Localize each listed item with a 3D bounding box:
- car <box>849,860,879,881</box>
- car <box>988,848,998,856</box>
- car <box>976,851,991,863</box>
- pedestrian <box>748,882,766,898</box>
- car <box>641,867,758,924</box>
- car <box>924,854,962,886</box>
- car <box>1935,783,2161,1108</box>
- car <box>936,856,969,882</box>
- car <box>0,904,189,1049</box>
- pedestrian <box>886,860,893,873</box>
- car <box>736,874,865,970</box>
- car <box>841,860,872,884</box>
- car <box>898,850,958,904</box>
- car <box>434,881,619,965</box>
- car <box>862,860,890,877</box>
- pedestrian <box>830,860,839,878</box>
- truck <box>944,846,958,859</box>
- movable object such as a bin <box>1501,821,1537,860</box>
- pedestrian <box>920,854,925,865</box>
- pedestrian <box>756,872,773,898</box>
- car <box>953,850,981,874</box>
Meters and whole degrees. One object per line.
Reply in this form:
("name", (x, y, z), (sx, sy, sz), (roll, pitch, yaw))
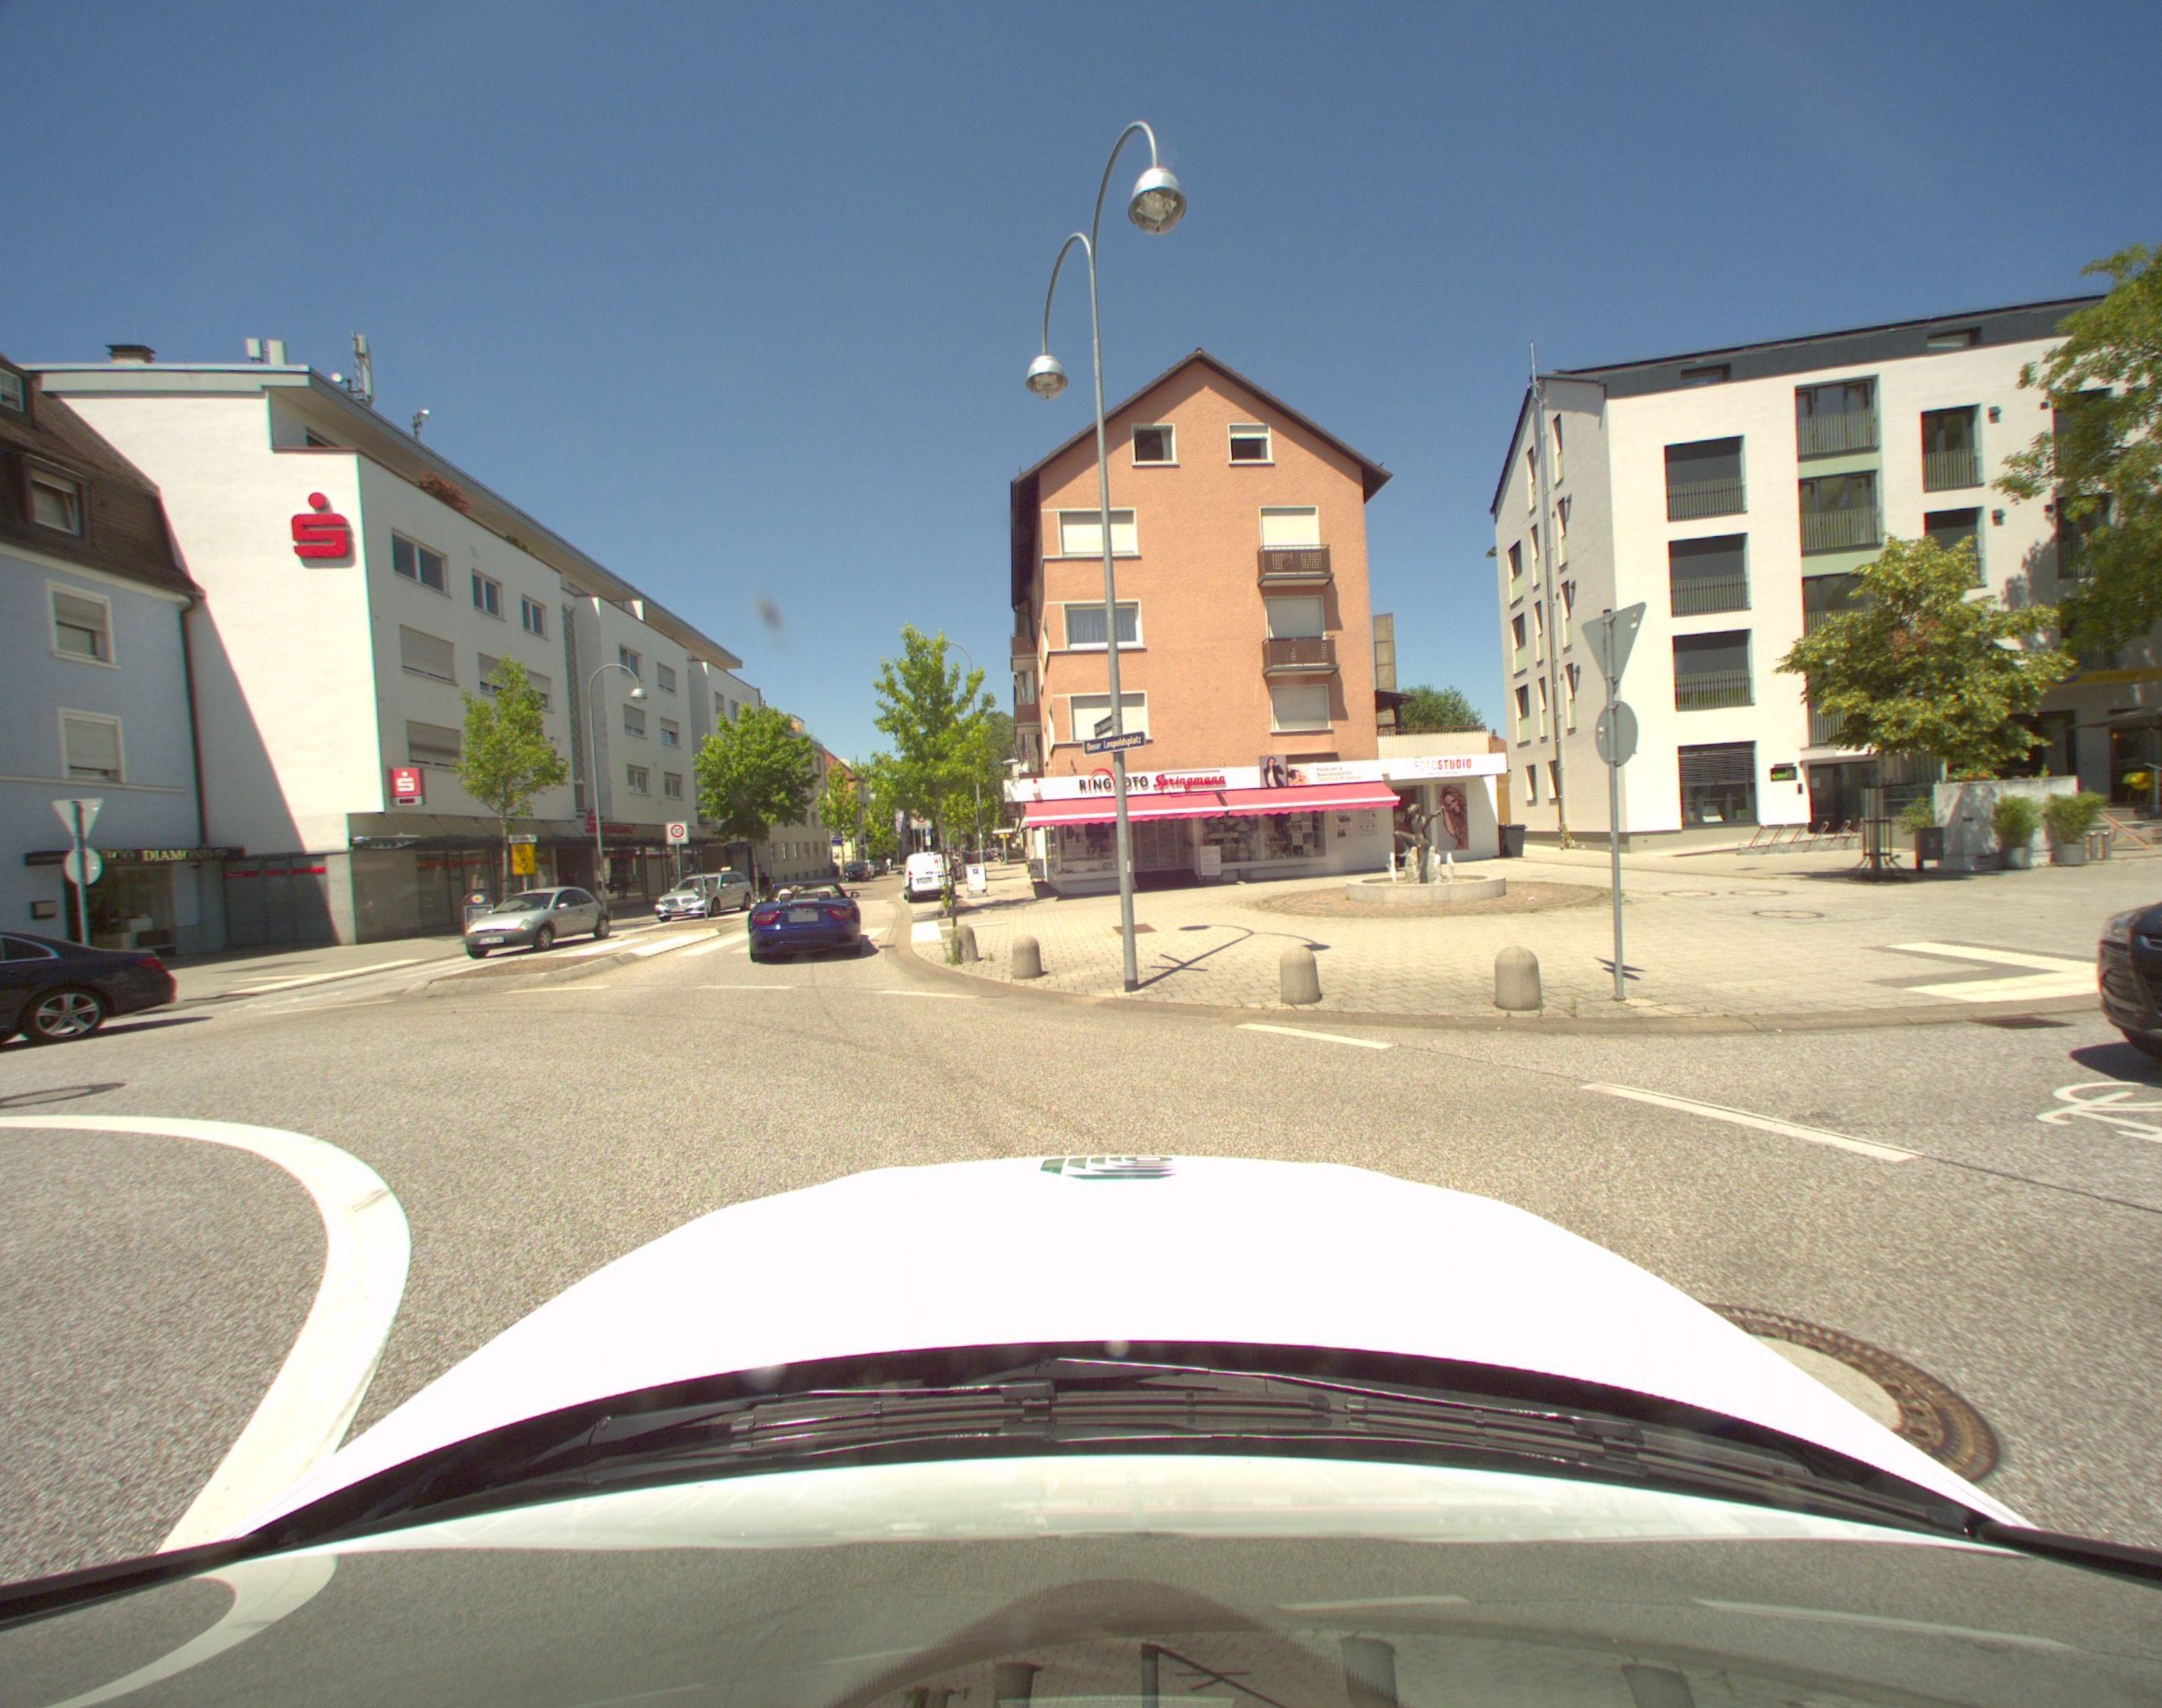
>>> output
("car", (-19.326, 1.423, 72.629), (1.822, 1.619, 4.383), (-2, 1, -6))
("car", (-19.290, -0.373, 178.015), (1.948, 1.476, 4.130), (-5, 1, -5))
("car", (-14.487, 0.430, 121.368), (1.973, 1.450, 4.342), (-6, 2, -5))
("pedestrian", (-18.431, 2.051, 46.319), (0.661, 0.858, 0.733), (-5, -3, 4))
("car", (-13.164, 1.363, 28.498), (1.990, 1.592, 4.991), (-4, 1, -5))
("car", (-8.677, 0.971, 51.489), (1.761, 1.705, 4.698), (-5, 1, -4))
("car", (7.818, 0.340, 4.451), (4.507, 1.688, 1.996), (-4, 0, -7))
("car", (-8.919, 1.002, 56.865), (1.719, 1.583, 4.220), (-5, 1, -3))
("car", (-13.376, 1.564, 8.679), (1.978, 1.477, 4.729), (-5, 1, 16))
("pedestrian", (-21.853, 1.452, 92.868), (0.578, 1.474, 0.563), (-4, 1, -6))
("car", (-5.342, 1.157, 15.621), (1.982, 1.398, 4.597), (-1, 0, -19))
("car", (-18.418, 1.464, 66.961), (1.727, 1.740, 4.383), (-1, 1, -6))
("car", (-5.703, 0.804, 30.105), (1.750, 1.724, 3.890), (-6, 1, -15))
("car", (-12.867, 1.535, 19.215), (1.695, 1.458, 3.787), (-5, 1, -1))
("car", (-19.772, 1.350, 78.808), (1.750, 1.474, 4.317), (-2, 1, -3))
("pedestrian", (-23.796, 1.424, 78.564), (0.659, 1.680, 0.627), (-6, 3, -23))
("truck", (-22.978, -0.302, 144.065), (1.801, 2.117, 4.708), (-5, 1, -4))
("movable object such as a bin", (13.828, -0.436, 25.730), (0.753, 1.155, 0.777), (-4, 3, 12))
("pedestrian", (-22.503, 0.794, 115.692), (0.586, 1.574, 0.780), (-4, 1, -6))
("pedestrian", (-17.627, 1.712, 45.325), (0.565, 1.372, 0.667), (-5, 0, 4))
("car", (-10.453, 0.692, 74.900), (1.989, 1.798, 4.565), (-5, 2, -3))
